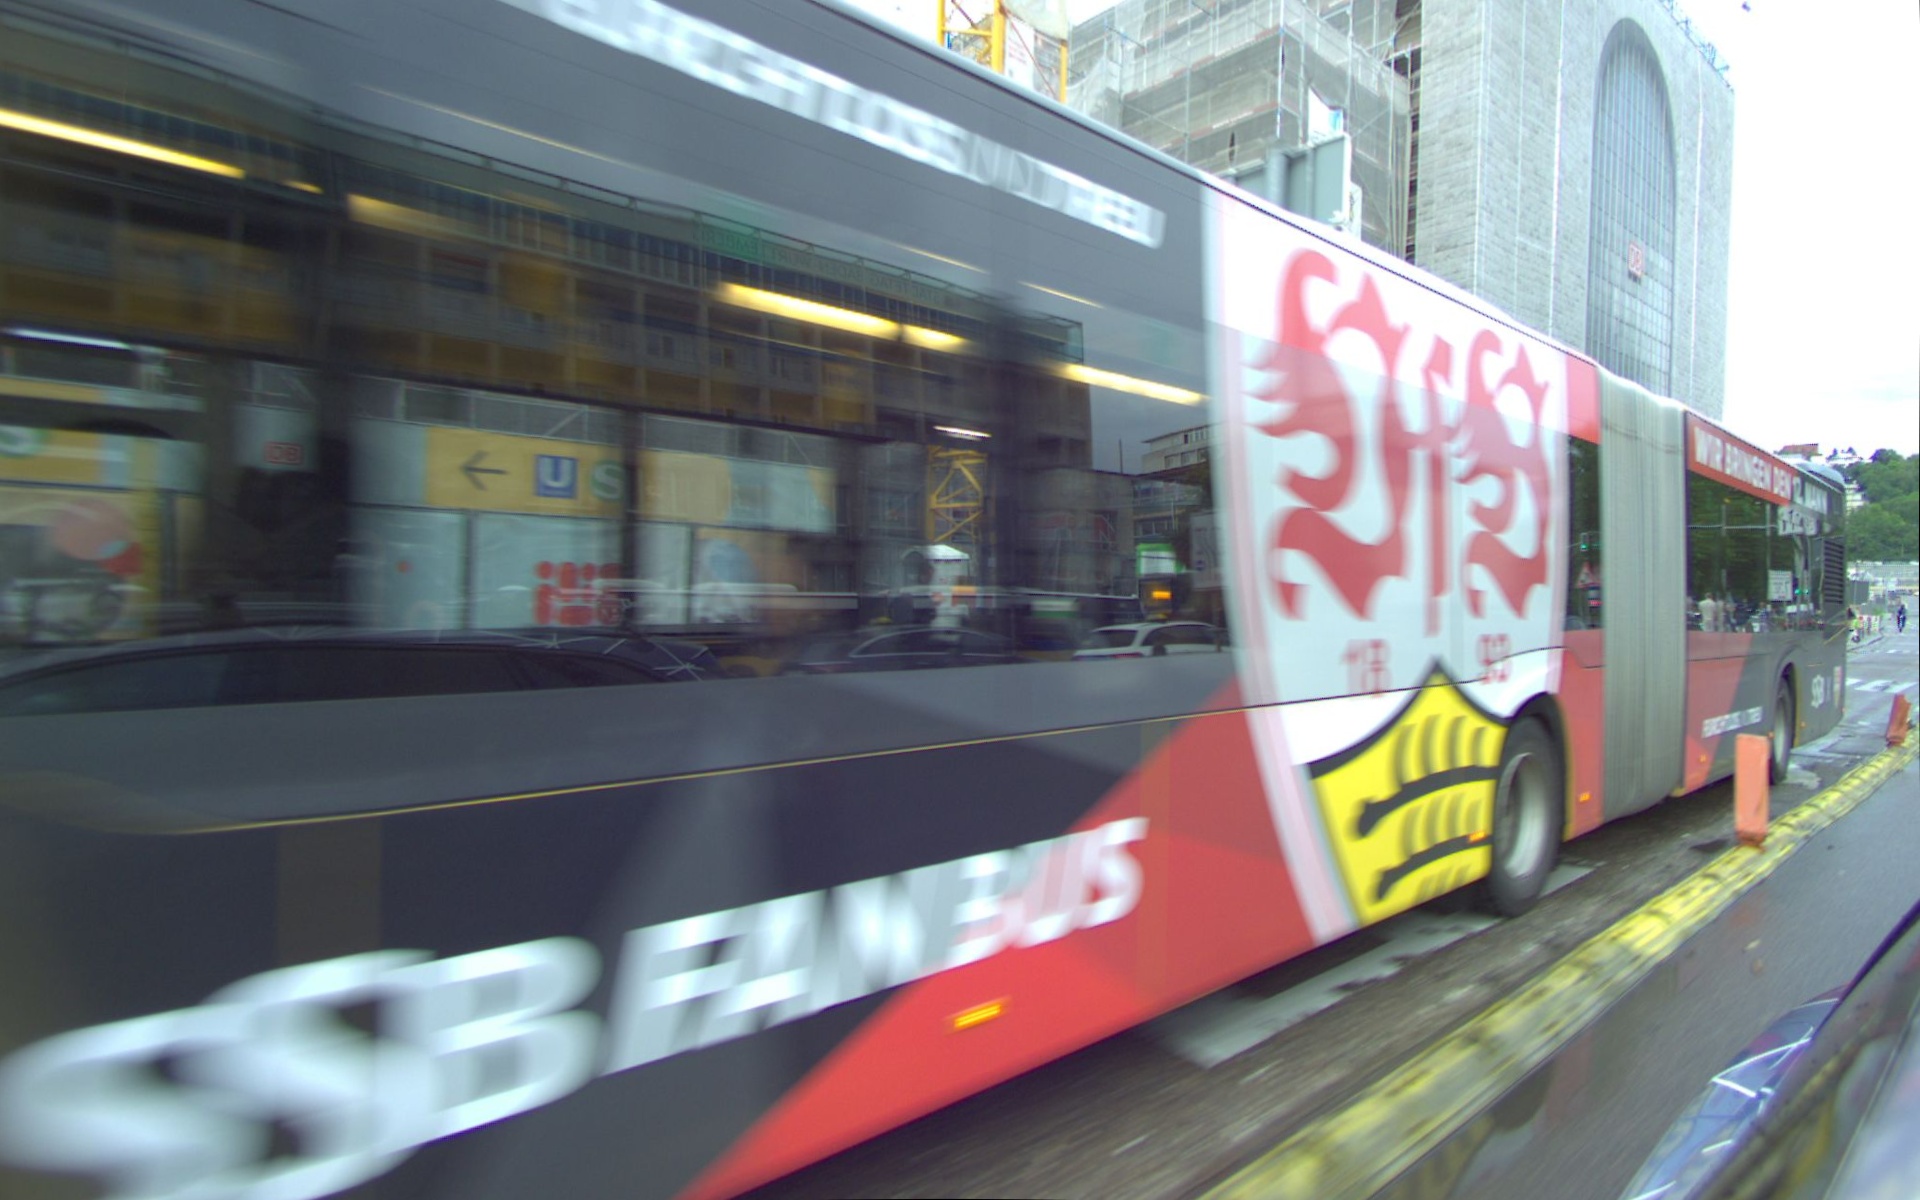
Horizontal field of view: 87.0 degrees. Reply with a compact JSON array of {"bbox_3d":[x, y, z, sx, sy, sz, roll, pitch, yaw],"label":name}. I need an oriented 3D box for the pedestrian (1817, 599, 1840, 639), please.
[{"bbox_3d":[37.684,0.811,43.928,0.738,1.661,0.559,1,3,-40],"label":"pedestrian"}]

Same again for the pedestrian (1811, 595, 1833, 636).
[{"bbox_3d":[38.439,0.674,45.121,0.699,1.773,0.559,1,3,-40],"label":"pedestrian"}]

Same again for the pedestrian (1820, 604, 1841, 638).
[{"bbox_3d":[39.750,0.951,46.204,0.699,1.467,0.559,1,3,-40],"label":"pedestrian"}]

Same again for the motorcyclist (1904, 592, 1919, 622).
[{"bbox_3d":[66.453,0.482,70.665,0.724,2.062,0.578,2,0,42],"label":"motorcyclist"}]

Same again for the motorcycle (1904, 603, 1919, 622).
[{"bbox_3d":[66.429,0.891,70.647,0.727,1.244,2.128,3,0,42],"label":"motorcycle"}]

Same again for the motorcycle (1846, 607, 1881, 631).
[{"bbox_3d":[41.226,0.871,46.186,0.576,1.034,1.238,1,0,6],"label":"motorcycle"}]

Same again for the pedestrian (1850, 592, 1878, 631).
[{"bbox_3d":[41.232,0.509,46.171,0.571,1.762,0.821,1,0,6],"label":"pedestrian"}]

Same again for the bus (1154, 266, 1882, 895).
[{"bbox_3d":[5.621,-0.118,8.983,8.921,3.107,2.760,0,0,-41],"label":"bus"}]

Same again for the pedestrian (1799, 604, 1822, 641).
[{"bbox_3d":[39.489,1.033,46.988,0.603,1.671,0.566,1,3,-37],"label":"pedestrian"}]

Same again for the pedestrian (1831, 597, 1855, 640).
[{"bbox_3d":[37.129,0.768,42.567,0.556,1.780,0.742,4,3,35],"label":"pedestrian"}]

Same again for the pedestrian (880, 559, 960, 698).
[{"bbox_3d":[-0.508,0.340,12.582,0.811,1.656,0.911,1,0,-13],"label":"pedestrian"}]

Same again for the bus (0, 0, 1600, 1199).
[{"bbox_3d":[-1.084,-0.117,3.132,8.835,3.105,2.760,0,0,-41],"label":"bus"}]
